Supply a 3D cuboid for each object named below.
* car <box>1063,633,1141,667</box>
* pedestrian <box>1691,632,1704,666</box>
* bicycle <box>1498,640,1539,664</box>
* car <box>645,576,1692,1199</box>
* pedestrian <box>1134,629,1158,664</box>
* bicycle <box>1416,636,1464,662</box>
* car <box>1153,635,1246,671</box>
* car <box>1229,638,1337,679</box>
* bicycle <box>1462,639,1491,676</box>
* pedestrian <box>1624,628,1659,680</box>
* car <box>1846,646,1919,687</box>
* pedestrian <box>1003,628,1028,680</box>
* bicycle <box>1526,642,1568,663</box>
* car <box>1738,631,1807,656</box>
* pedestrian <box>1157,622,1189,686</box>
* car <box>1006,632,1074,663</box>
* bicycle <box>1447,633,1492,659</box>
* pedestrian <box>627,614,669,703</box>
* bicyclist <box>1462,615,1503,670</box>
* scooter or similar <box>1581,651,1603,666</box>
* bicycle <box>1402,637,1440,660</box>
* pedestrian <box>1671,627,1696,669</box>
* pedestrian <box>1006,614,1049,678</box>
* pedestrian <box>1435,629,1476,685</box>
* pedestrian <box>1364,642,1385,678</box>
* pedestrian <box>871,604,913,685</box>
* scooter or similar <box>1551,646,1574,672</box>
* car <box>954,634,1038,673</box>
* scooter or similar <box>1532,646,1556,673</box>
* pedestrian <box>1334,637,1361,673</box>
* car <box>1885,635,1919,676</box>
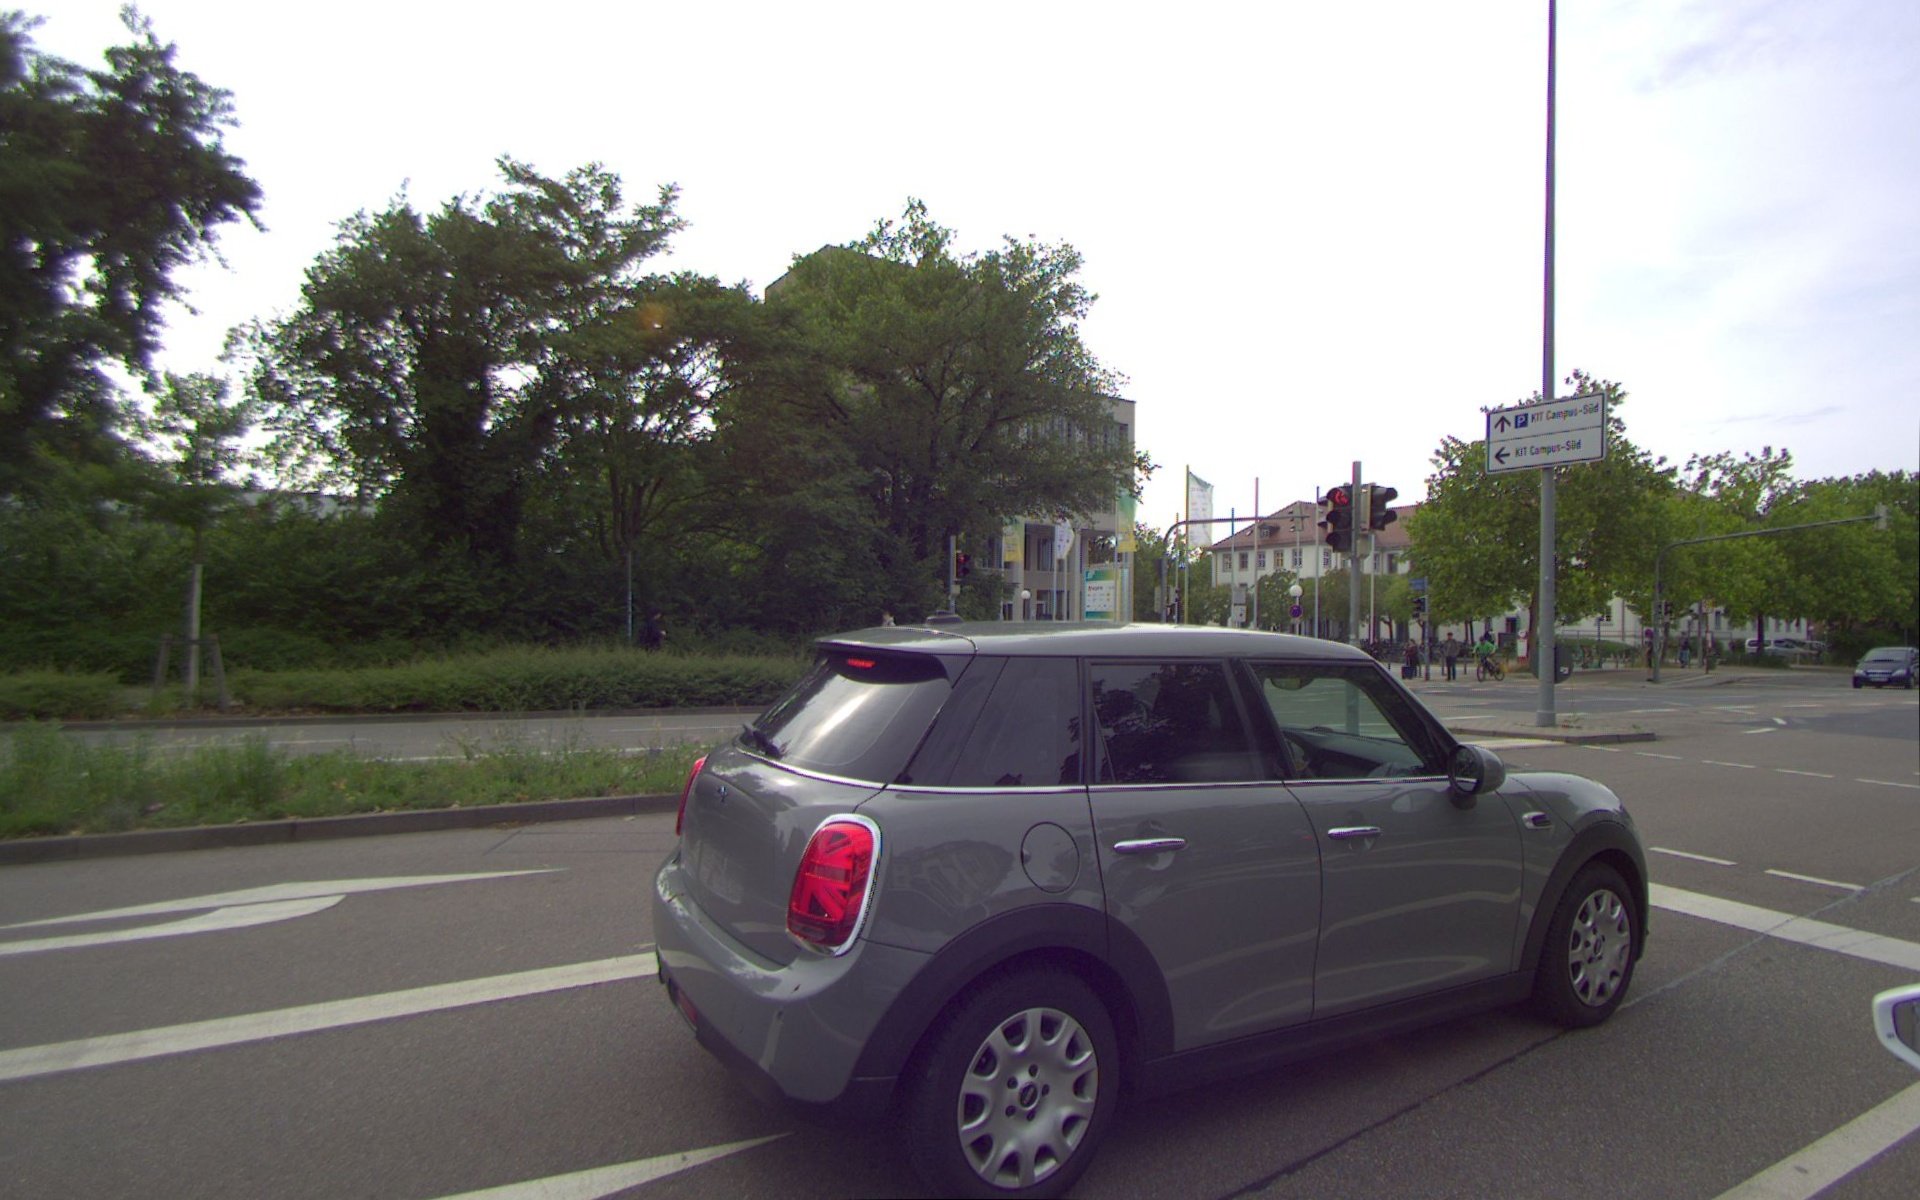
[{"bbox_3d":[7.570,2.659,53.997,1.980,1.601,3.961,2,0,-35],"label":"car"},{"bbox_3d":[38.581,2.540,52.520,0.430,1.762,0.415,2,0,-40],"label":"pedestrian"},{"bbox_3d":[38.155,3.520,68.605,0.715,1.615,2.382,2,-2,-37],"label":"bicycle"},{"bbox_3d":[0.893,0.687,3.712,3.662,1.335,1.613,2,-2,-30],"label":"car"},{"bbox_3d":[11.089,2.759,59.955,1.007,2.040,0.996,2,-2,-34],"label":"pedestrian"},{"bbox_3d":[30.527,3.113,63.964,0.916,1.579,2.633,2,-2,-43],"label":"bicycle"},{"bbox_3d":[11.445,2.509,48.193,1.982,1.491,3.958,2,0,-37],"label":"car"},{"bbox_3d":[14.189,2.538,44.288,1.982,1.491,4.111,2,0,-37],"label":"car"},{"bbox_3d":[20.003,2.207,38.881,0.597,1.351,2.303,2,0,37],"label":"bicycle"},{"bbox_3d":[27.532,2.174,40.576,1.000,2.040,0.888,2,-2,-36],"label":"pedestrian"},{"bbox_3d":[35.769,2.519,38.375,3.654,1.483,1.844,2,-2,-30],"label":"car"},{"bbox_3d":[1.755,1.703,31.894,0.598,1.628,0.497,2,-1,-42],"label":"pedestrian"},{"bbox_3d":[33.667,2.998,57.663,2.005,1.168,0.718,-1,-2,39],"label":"bicycle"},{"bbox_3d":[58.691,3.159,72.557,1.636,1.623,3.561,2,0,-35],"label":"car"},{"bbox_3d":[7.122,1.790,33.632,0.844,2.086,0.662,1,-1,-34],"label":"pedestrian"},{"bbox_3d":[4.599,2.730,58.219,1.835,1.706,3.961,2,-2,-35],"label":"car"},{"bbox_3d":[33.065,2.976,65.207,0.916,1.579,2.421,2,-2,-44],"label":"bicycle"},{"bbox_3d":[-6.264,1.163,20.152,0.645,1.717,0.586,2,0,-31],"label":"pedestrian"},{"bbox_3d":[20.098,1.606,38.657,1.165,2.040,1.277,2,0,37],"label":"bicyclist"},{"bbox_3d":[30.804,2.833,48.952,1.274,0.703,0.404,2,0,-31],"label":"scooter or similar"},{"bbox_3d":[31.934,3.365,69.659,0.907,1.579,2.658,1,-2,-16],"label":"bicycle"},{"bbox_3d":[36.181,2.373,50.225,0.919,2.040,0.795,2,0,-40],"label":"pedestrian"},{"bbox_3d":[2.218,1.497,32.970,1.022,2.040,1.099,2,0,25],"label":"pedestrian"},{"bbox_3d":[18.768,2.125,38.018,1.165,2.040,1.138,2,0,37],"label":"pedestrian"},{"bbox_3d":[17.671,2.548,42.817,0.687,1.447,0.999,2,0,28],"label":"pedestrian"},{"bbox_3d":[-1.775,1.152,26.076,0.811,2.040,0.904,1,-2,-26],"label":"pedestrian"},{"bbox_3d":[26.749,2.616,44.587,1.306,1.155,0.358,2,-2,-34],"label":"scooter or similar"},{"bbox_3d":[1.500,2.238,42.644,1.844,1.469,3.562,2,-1,-34],"label":"car"},{"bbox_3d":[25.410,2.571,43.703,1.306,1.155,0.358,2,-2,-34],"label":"scooter or similar"},{"bbox_3d":[16.795,2.371,43.559,0.812,1.533,0.971,2,0,37],"label":"pedestrian"},{"bbox_3d":[40.872,2.326,42.009,3.949,1.641,1.986,2,-2,-28],"label":"car"}]
